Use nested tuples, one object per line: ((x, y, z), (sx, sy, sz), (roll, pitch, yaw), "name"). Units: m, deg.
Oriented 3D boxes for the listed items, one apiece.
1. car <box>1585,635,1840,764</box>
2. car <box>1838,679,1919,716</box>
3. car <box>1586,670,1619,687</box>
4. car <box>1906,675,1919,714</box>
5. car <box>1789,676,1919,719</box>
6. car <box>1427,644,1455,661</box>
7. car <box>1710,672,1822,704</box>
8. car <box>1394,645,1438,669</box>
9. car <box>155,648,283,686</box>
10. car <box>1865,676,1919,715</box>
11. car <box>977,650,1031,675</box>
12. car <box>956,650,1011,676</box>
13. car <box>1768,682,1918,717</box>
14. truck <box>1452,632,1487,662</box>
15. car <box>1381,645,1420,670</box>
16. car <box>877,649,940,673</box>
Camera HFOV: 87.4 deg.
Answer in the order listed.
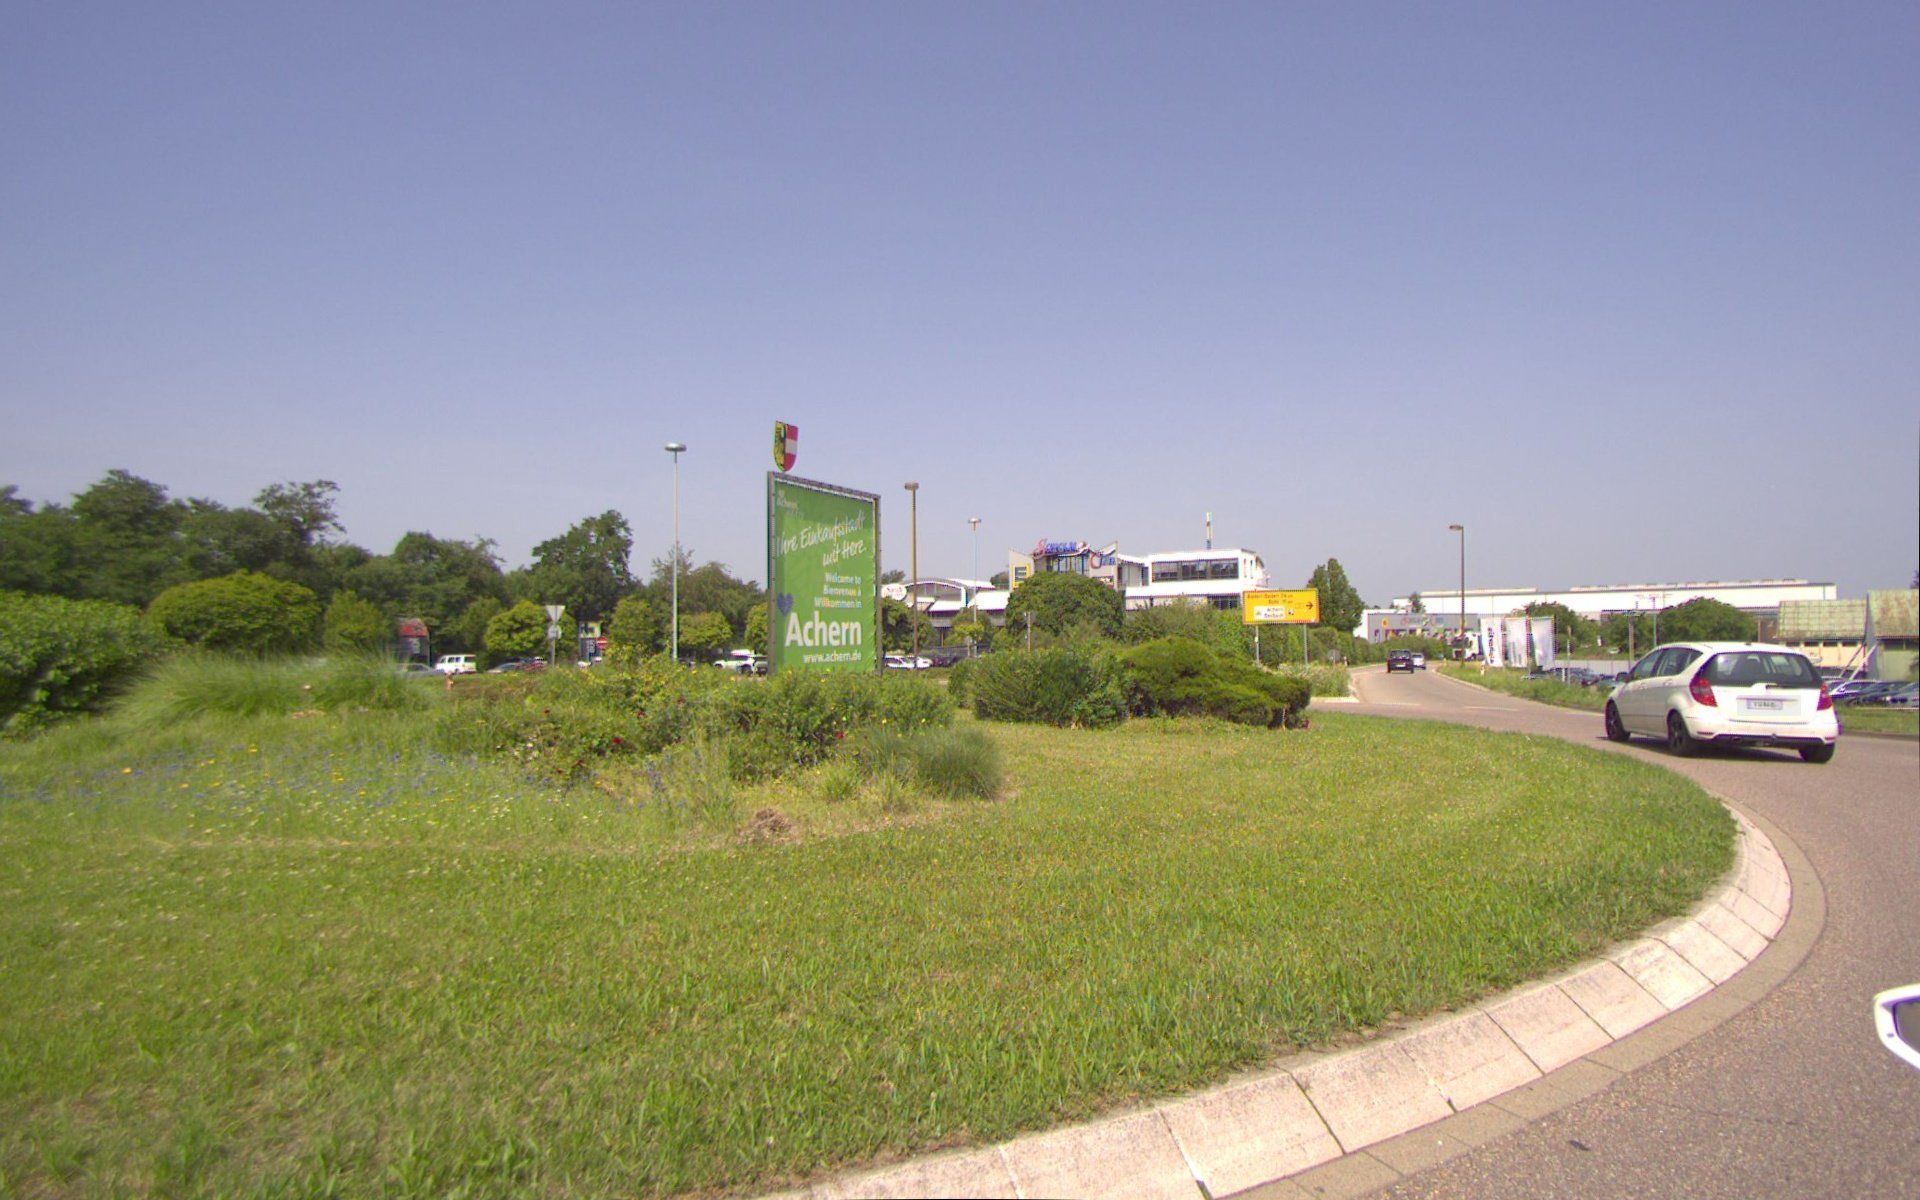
((10.880, 1.346, 14.886), (1.751, 1.624, 3.895), (0, -2, 16), "car")
((39.092, 3.998, 41.160), (4.178, 1.484, 1.875), (-2, -6, 20), "car")
((59.015, 7.208, 92.235), (2.109, 1.476, 4.514), (0, -3, 38), "car")
((37.263, 3.347, 36.127), (4.179, 1.430, 1.924), (-3, -6, 20), "car")
((39.346, 4.284, 43.959), (4.179, 1.770, 2.001), (-3, -6, 20), "car")
((63.067, 6.910, 131.646), (3.970, 2.040, 1.976), (4, -3, -42), "car")
((40.963, 4.485, 51.166), (3.920, 1.571, 2.002), (-1, -5, 16), "car")
((41.941, 5.243, 92.415), (3.961, 2.040, 1.981), (3, -3, -35), "car")
((-34.057, 3.059, 46.295), (1.840, 1.582, 4.407), (1, -3, 20), "car")
((38.211, 3.654, 38.819), (4.346, 1.483, 1.925), (-2, -6, 12), "car")
((2.870, 4.092, 65.500), (3.273, 1.594, 1.549), (-2, -4, 39), "car")
((1.472, 3.951, 63.254), (3.273, 1.594, 1.549), (-2, -4, 39), "car")
((40.493, 4.601, 46.226), (4.688, 1.527, 2.001), (-2, -6, 20), "car")
((73.175, 6.788, 144.160), (6.071, 4.312, 2.489), (3, -4, -44), "truck")
((28.606, 3.751, 65.211), (1.802, 1.489, 4.402), (0, -3, 30), "car")
((-3.501, 4.096, 67.625), (3.939, 1.594, 1.992), (-2, -4, 39), "car")
